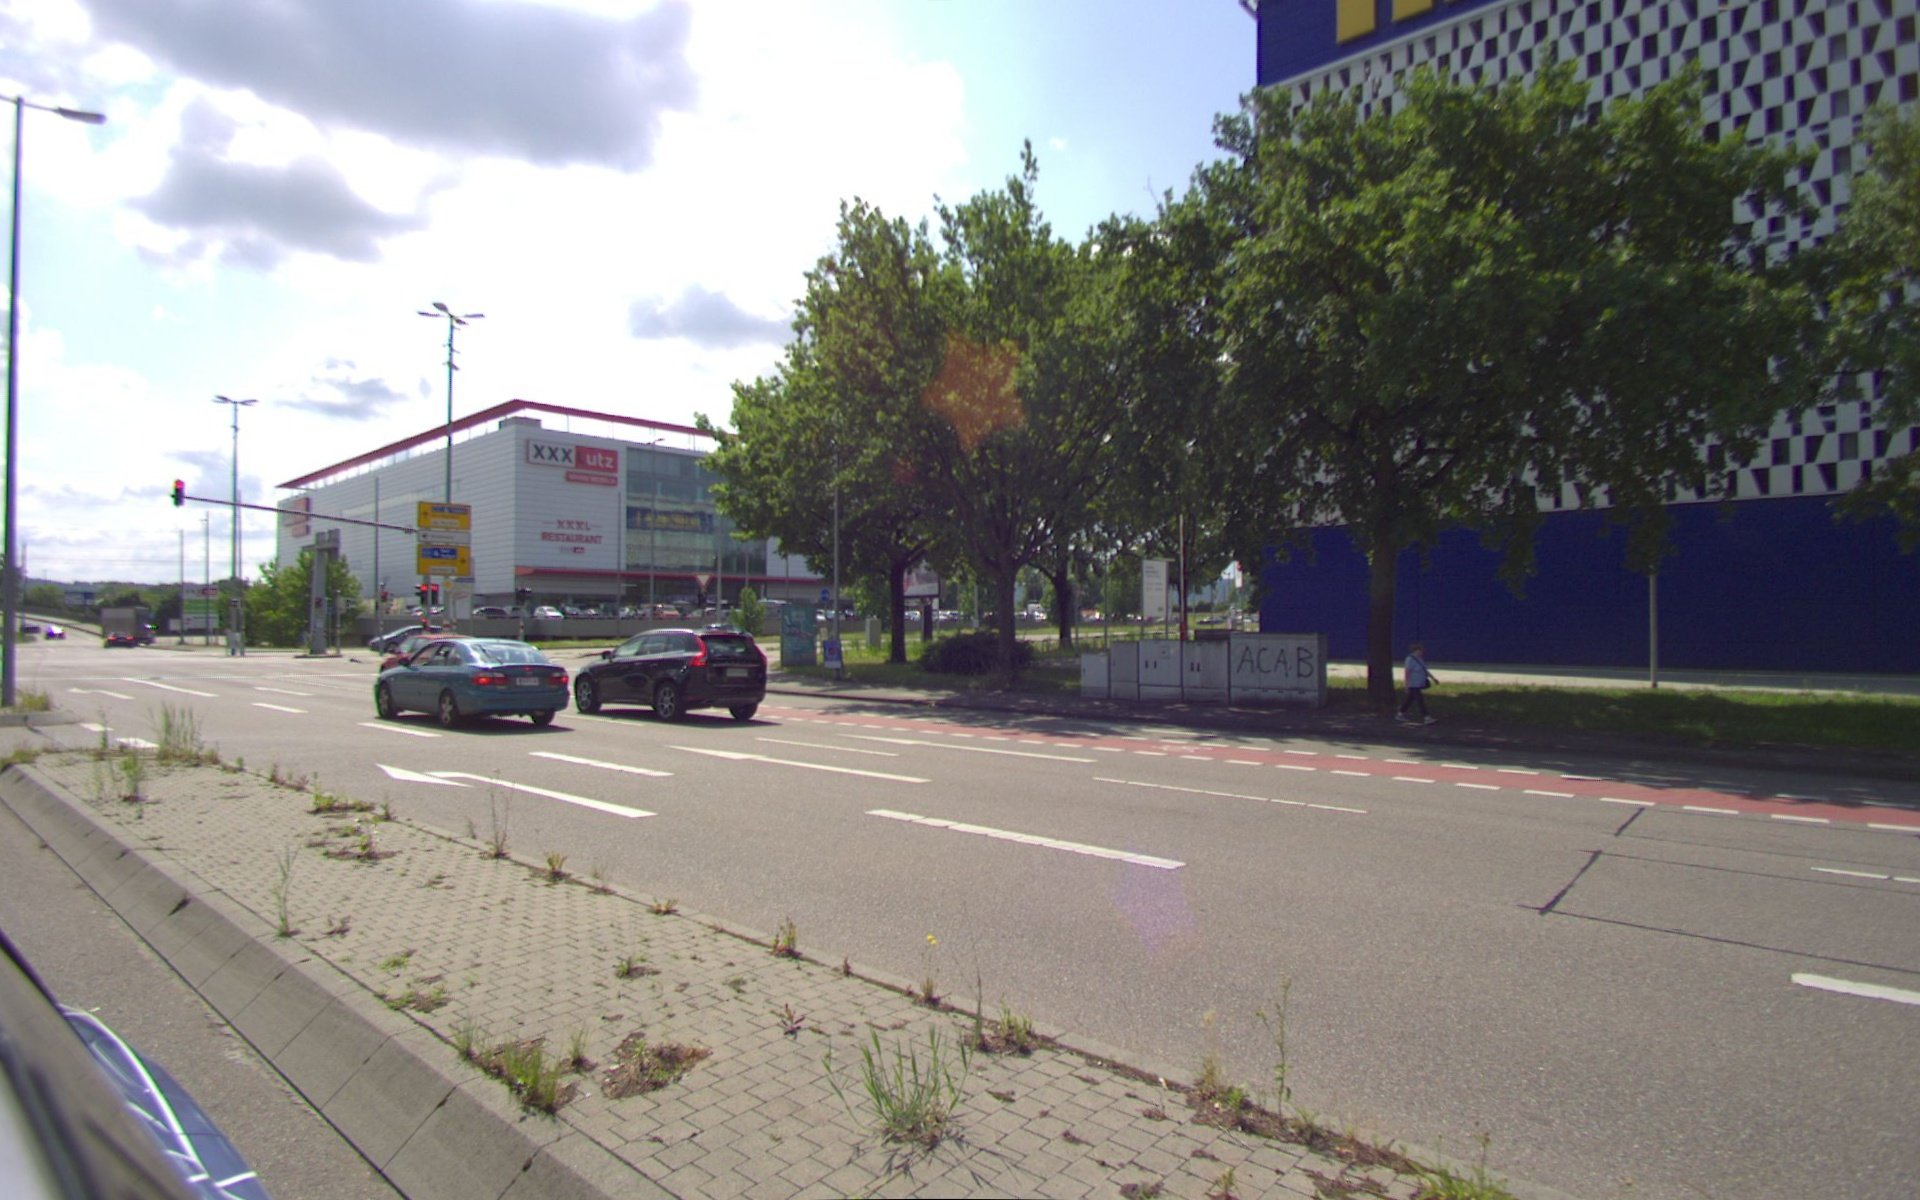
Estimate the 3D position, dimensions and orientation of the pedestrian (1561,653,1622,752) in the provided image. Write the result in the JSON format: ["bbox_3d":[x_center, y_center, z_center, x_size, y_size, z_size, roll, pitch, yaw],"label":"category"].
[{"bbox_3d":[10.416,1.673,16.695,0.760,1.567,0.497,-2,-2,41],"label":"pedestrian"}]

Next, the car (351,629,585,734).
[{"bbox_3d":[-8.483,1.310,17.244,4.817,1.560,1.755,-2,-5,40],"label":"car"}]

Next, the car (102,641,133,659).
[{"bbox_3d":[-74.432,4.401,89.384,1.753,1.489,4.682,1,-3,-44],"label":"car"}]

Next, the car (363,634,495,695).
[{"bbox_3d":[-14.014,1.657,26.632,4.123,1.494,1.668,-2,-4,41],"label":"car"}]

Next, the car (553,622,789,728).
[{"bbox_3d":[-5.562,1.356,19.154,4.817,1.769,1.908,-2,-5,40],"label":"car"}]

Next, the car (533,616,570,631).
[{"bbox_3d":[-43.711,2.552,108.310,4.422,1.482,1.927,-3,-3,42],"label":"car"}]

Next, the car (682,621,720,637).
[{"bbox_3d":[-28.091,3.144,109.694,4.425,1.618,1.926,-3,-3,45],"label":"car"}]

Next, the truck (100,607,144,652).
[{"bbox_3d":[-81.700,2.891,98.713,3.172,4.058,9.085,0,-3,-39],"label":"truck"}]

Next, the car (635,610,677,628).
[{"bbox_3d":[-31.543,1.972,104.855,4.174,1.763,1.896,-3,-2,32],"label":"car"}]

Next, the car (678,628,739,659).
[{"bbox_3d":[-13.082,2.230,52.911,1.871,1.567,4.583,0,-2,2],"label":"car"}]

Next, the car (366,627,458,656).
[{"bbox_3d":[-30.461,2.278,56.324,1.608,1.542,4.207,-2,-3,44],"label":"car"}]

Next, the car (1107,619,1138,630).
[{"bbox_3d":[25.389,3.850,158.465,4.425,1.618,1.926,-3,-3,45],"label":"car"}]
